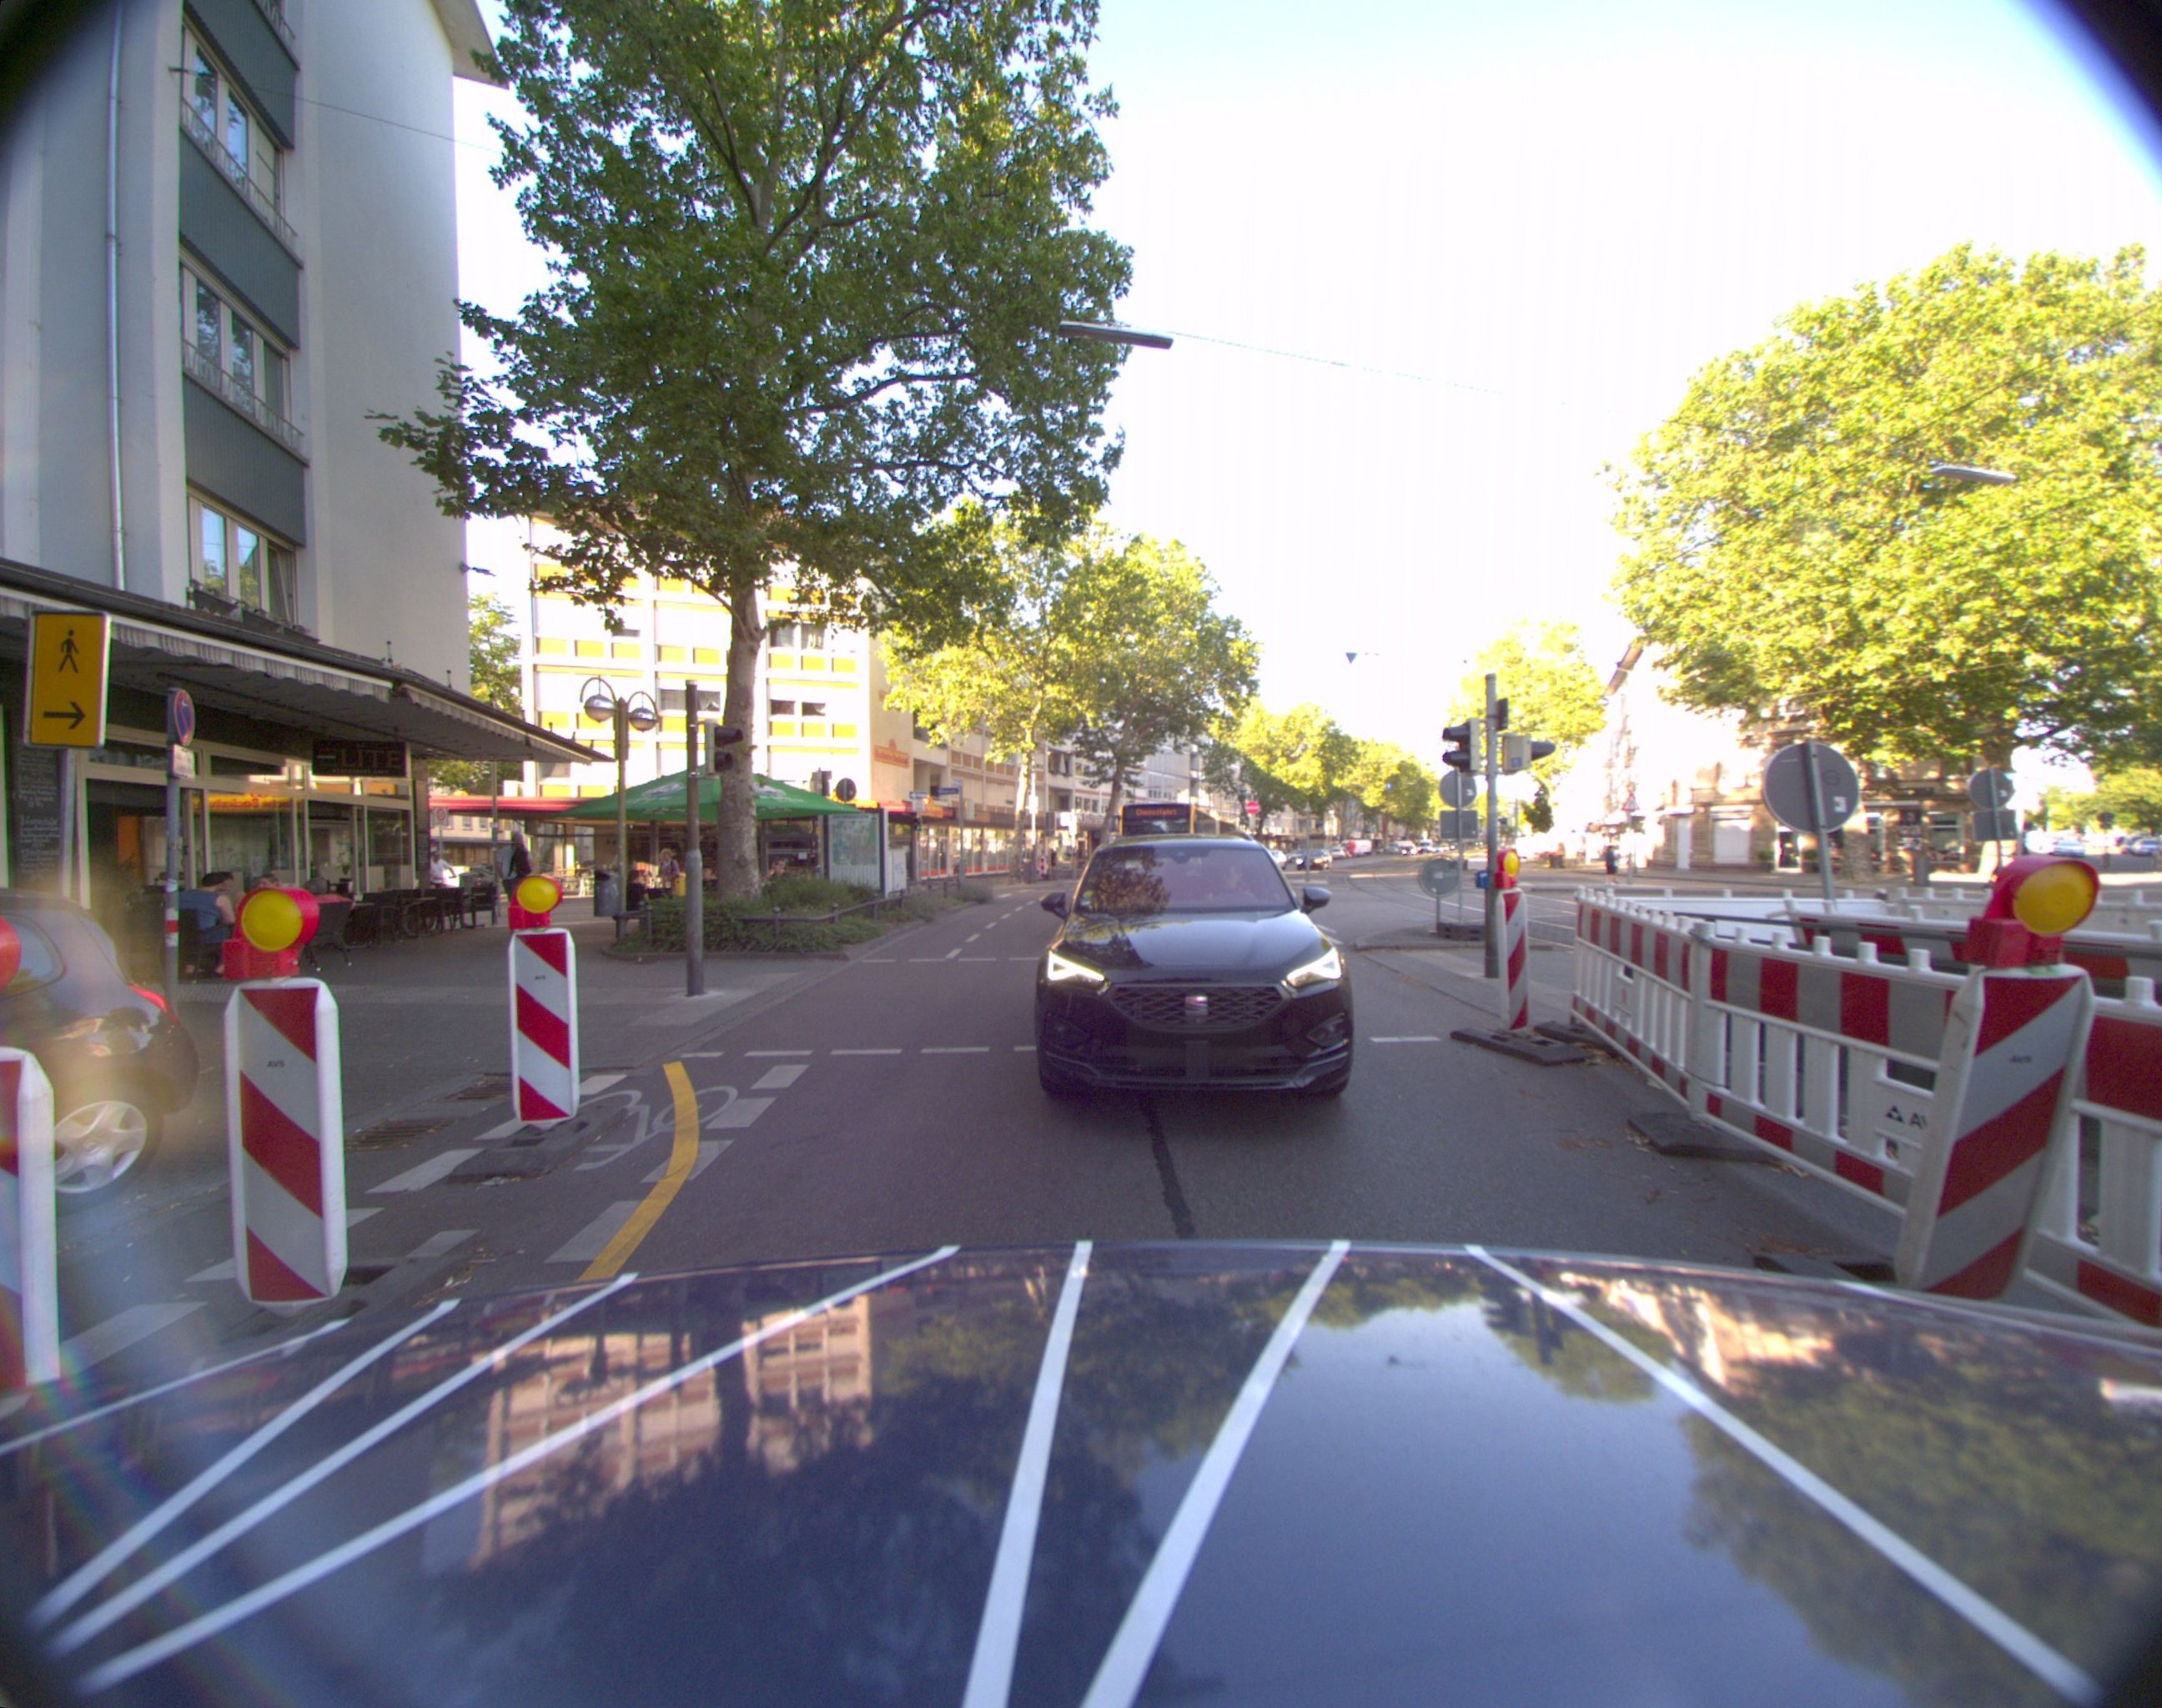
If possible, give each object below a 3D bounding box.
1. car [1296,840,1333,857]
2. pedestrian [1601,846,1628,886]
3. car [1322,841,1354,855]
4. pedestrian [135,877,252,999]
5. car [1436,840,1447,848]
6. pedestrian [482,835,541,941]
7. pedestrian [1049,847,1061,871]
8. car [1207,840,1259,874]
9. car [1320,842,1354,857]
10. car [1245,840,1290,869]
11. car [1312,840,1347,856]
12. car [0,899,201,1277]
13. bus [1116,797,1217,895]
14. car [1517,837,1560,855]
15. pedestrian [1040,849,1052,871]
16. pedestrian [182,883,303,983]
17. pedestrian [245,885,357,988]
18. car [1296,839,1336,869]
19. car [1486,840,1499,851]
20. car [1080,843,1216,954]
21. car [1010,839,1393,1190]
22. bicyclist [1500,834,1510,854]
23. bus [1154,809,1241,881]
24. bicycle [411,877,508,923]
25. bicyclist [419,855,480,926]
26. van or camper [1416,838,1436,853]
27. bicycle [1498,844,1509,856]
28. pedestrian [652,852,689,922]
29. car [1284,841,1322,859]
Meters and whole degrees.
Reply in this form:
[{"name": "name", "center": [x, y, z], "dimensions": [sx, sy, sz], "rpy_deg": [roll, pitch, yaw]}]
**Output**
[{"name": "car", "center": [28.539, -0.708, 92.885], "dimensions": [3.994, 2.002, 2.001], "rpy_deg": [0, 1, 8]}, {"name": "pedestrian", "center": [20.328, 0.442, 28.949], "dimensions": [0.603, 1.524, 0.745], "rpy_deg": [0, 1, 12]}, {"name": "car", "center": [36.531, -0.858, 107.885], "dimensions": [3.994, 2.002, 2.001], "rpy_deg": [0, 1, 8]}, {"name": "pedestrian", "center": [-10.295, 0.940, 8.824], "dimensions": [0.789, 1.299, 0.701], "rpy_deg": [0, 1, 28]}, {"name": "car", "center": [71.756, -1.943, 151.274], "dimensions": [1.700, 1.462, 3.771], "rpy_deg": [0, 1, 31]}, {"name": "pedestrian", "center": [-10.827, 0.621, 14.463], "dimensions": [0.649, 1.948, 0.888], "rpy_deg": [-1, 1, -22]}, {"name": "pedestrian", "center": [-1.680, 0.337, 49.810], "dimensions": [0.627, 1.577, 0.532], "rpy_deg": [0, 1, 20]}, {"name": "car", "center": [9.316, 0.141, 46.349], "dimensions": [1.995, 2.002, 4.105], "rpy_deg": [0, 1, 29]}, {"name": "car", "center": [35.059, -0.580, 104.139], "dimensions": [3.994, 2.002, 2.001], "rpy_deg": [0, 1, 8]}, {"name": "car", "center": [13.601, 0.013, 55.328], "dimensions": [1.994, 2.002, 4.008], "rpy_deg": [0, 1, 33]}, {"name": "car", "center": [32.277, -0.758, 98.859], "dimensions": [3.994, 2.002, 2.001], "rpy_deg": [0, 1, 8]}, {"name": "car", "center": [-5.218, 0.969, 1.942], "dimensions": [1.771, 1.459, 3.610], "rpy_deg": [2, 1, -2]}, {"name": "bus", "center": [3.484, -0.296, 28.640], "dimensions": [2.718, 3.088, 8.629], "rpy_deg": [0, 1, 13]}, {"name": "car", "center": [52.446, -0.945, 87.146], "dimensions": [4.001, 2.002, 1.997], "rpy_deg": [-1, 1, -13]}, {"name": "pedestrian", "center": [-2.289, 0.394, 50.016], "dimensions": [0.627, 1.429, 0.532], "rpy_deg": [0, 1, 20]}, {"name": "pedestrian", "center": [-10.734, 0.989, 9.753], "dimensions": [0.647, 1.186, 0.792], "rpy_deg": [0, 1, 7]}, {"name": "pedestrian", "center": [-9.865, 1.010, 9.620], "dimensions": [0.877, 1.186, 0.701], "rpy_deg": [0, 1, 24]}, {"name": "car", "center": [16.602, -0.014, 53.524], "dimensions": [1.995, 2.002, 4.007], "rpy_deg": [0, 1, 27]}, {"name": "car", "center": [74.118, -1.568, 136.833], "dimensions": [1.994, 2.002, 4.007], "rpy_deg": [0, 1, 29]}, {"name": "car", "center": [1.025, 0.641, 13.268], "dimensions": [1.998, 1.634, 4.075], "rpy_deg": [0, 1, 1]}, {"name": "car", "center": [0.613, 0.762, 5.678], "dimensions": [1.841, 1.696, 4.000], "rpy_deg": [0, 1, 1]}, {"name": "bicyclist", "center": [43.428, -1.056, 77.867], "dimensions": [0.854, 2.002, 0.985], "rpy_deg": [0, 1, 26]}, {"name": "bus", "center": [5.898, -0.422, 37.024], "dimensions": [2.717, 3.088, 8.608], "rpy_deg": [0, 1, 19]}, {"name": "bicycle", "center": [-16.219, 1.195, 19.866], "dimensions": [1.885, 1.123, 0.752], "rpy_deg": [-1, 0, 0]}, {"name": "bicyclist", "center": [-16.499, 0.946, 19.860], "dimensions": [0.925, 1.816, 0.753], "rpy_deg": [-1, 1, 0]}, {"name": "van or camper", "center": [61.034, -1.513, 134.514], "dimensions": [2.420, 2.702, 6.144], "rpy_deg": [0, 1, 32]}, {"name": "bicycle", "center": [43.429, -0.419, 78.091], "dimensions": [0.850, 1.186, 2.470], "rpy_deg": [0, 1, 27]}, {"name": "pedestrian", "center": [-9.638, 0.760, 17.837], "dimensions": [0.629, 1.628, 0.531], "rpy_deg": [-1, 1, -15]}, {"name": "car", "center": [24.932, -0.410, 85.173], "dimensions": [3.991, 2.002, 2.003], "rpy_deg": [0, 1, 18]}]
